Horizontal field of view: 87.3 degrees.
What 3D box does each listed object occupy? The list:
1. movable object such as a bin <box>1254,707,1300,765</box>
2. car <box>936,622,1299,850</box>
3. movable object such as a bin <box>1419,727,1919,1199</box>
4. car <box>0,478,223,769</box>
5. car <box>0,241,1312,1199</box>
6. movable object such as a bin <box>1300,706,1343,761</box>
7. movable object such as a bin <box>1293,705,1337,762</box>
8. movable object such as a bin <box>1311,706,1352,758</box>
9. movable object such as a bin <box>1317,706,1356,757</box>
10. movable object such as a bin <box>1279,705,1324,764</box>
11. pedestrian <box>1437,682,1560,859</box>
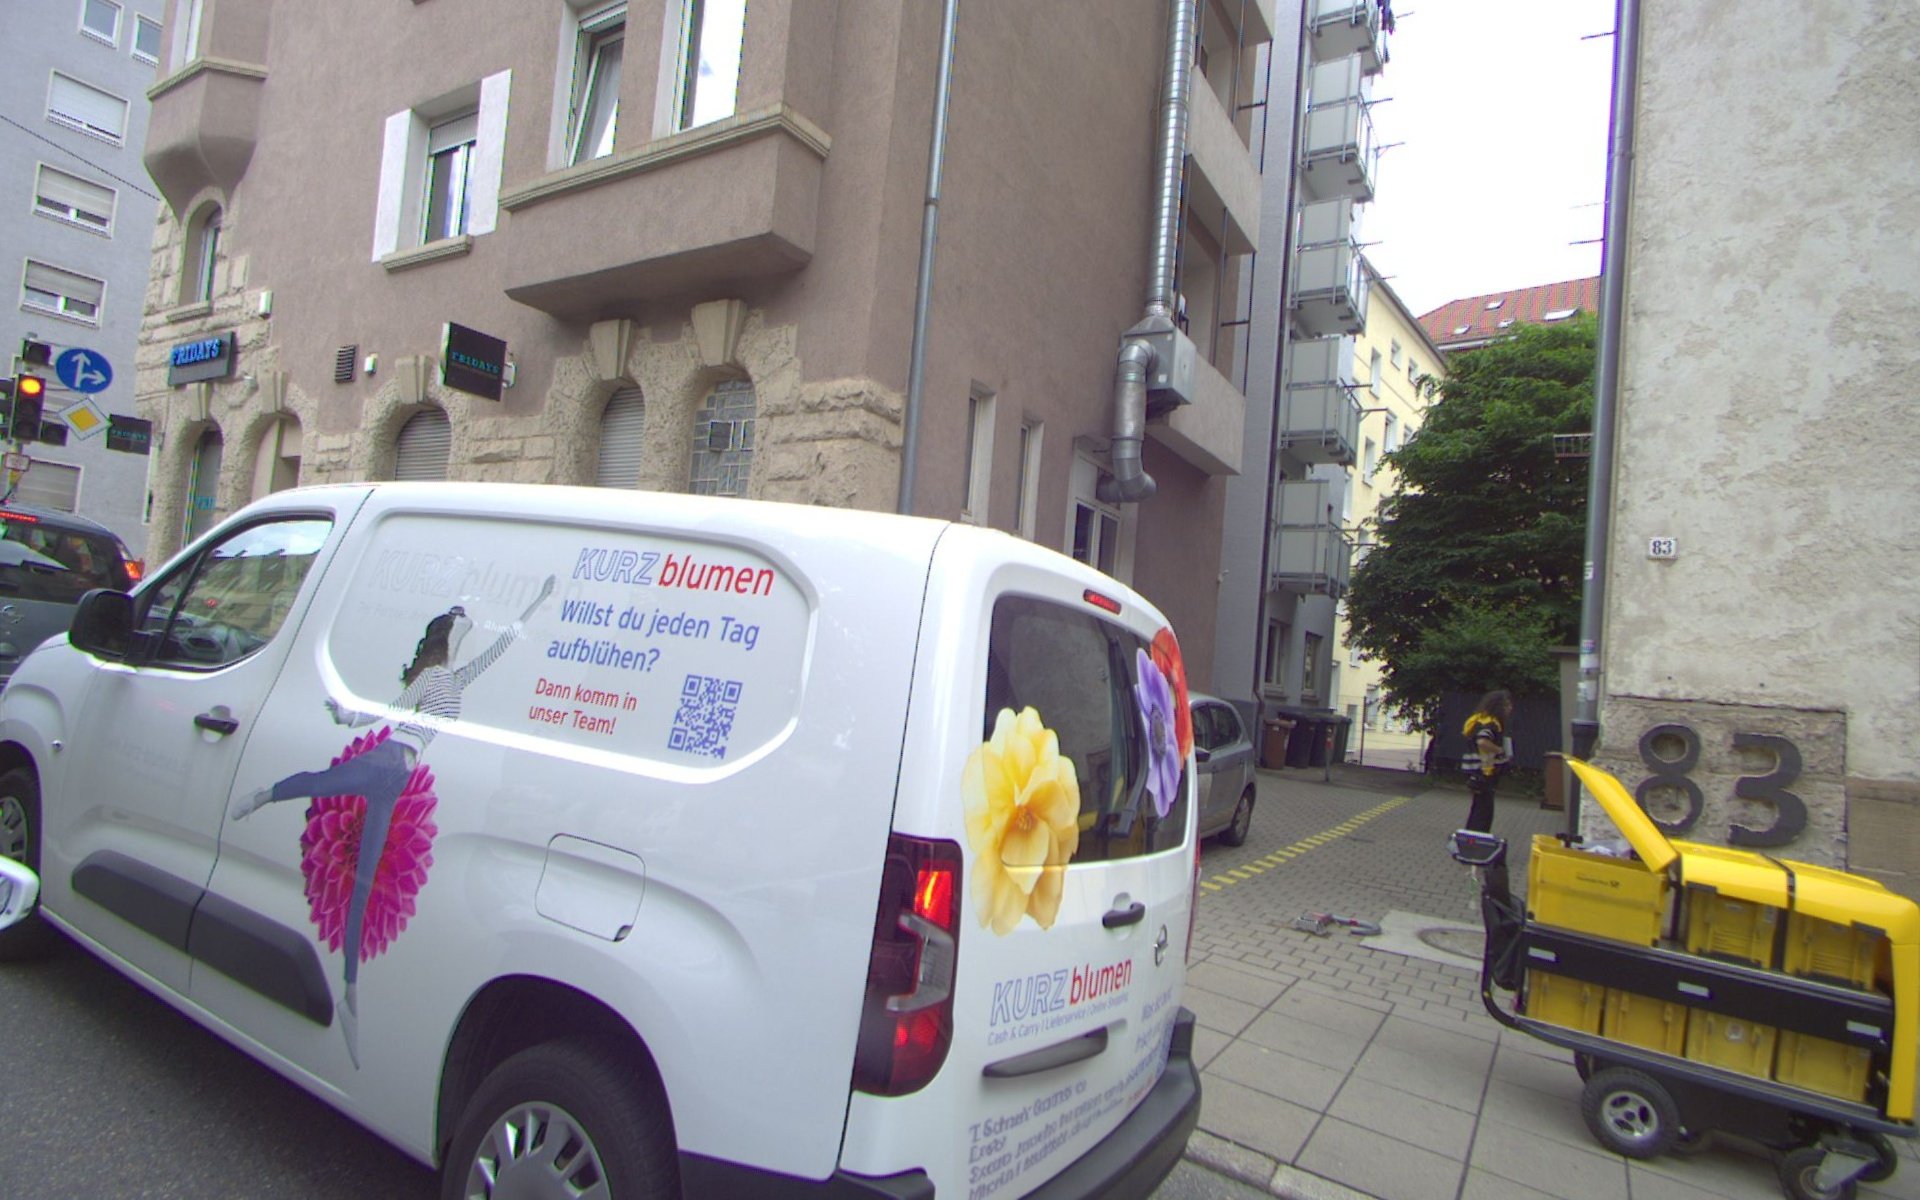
[{"bbox_3d":[6.032,2.583,19.150,0.626,0.997,0.572,6,-1,31],"label":"movable object such as a bin"},{"bbox_3d":[1.695,1.210,9.445,1.770,1.419,3.995,9,-1,32],"label":"car"},{"bbox_3d":[2.880,1.357,4.103,1.665,1.437,0.720,5,-1,30],"label":"movable object such as a bin"},{"bbox_3d":[-6.862,-0.002,6.685,3.570,1.609,1.758,6,-5,32],"label":"car"},{"bbox_3d":[-1.630,0.429,3.497,4.945,1.845,1.852,4,-4,36],"label":"car"},{"bbox_3d":[7.774,2.848,21.603,0.644,1.073,0.673,6,-1,31],"label":"movable object such as a bin"},{"bbox_3d":[7.398,2.777,20.965,0.644,1.073,0.681,6,-1,31],"label":"movable object such as a bin"},{"bbox_3d":[8.376,2.964,22.662,0.644,1.073,0.673,6,-1,31],"label":"movable object such as a bin"},{"bbox_3d":[8.764,3.047,23.426,0.644,1.073,0.673,6,-1,31],"label":"movable object such as a bin"},{"bbox_3d":[6.799,2.669,20.023,0.644,1.073,0.572,6,-1,31],"label":"movable object such as a bin"},{"bbox_3d":[5.475,1.713,10.238,0.753,1.680,0.740,5,-3,-25],"label":"pedestrian"}]
